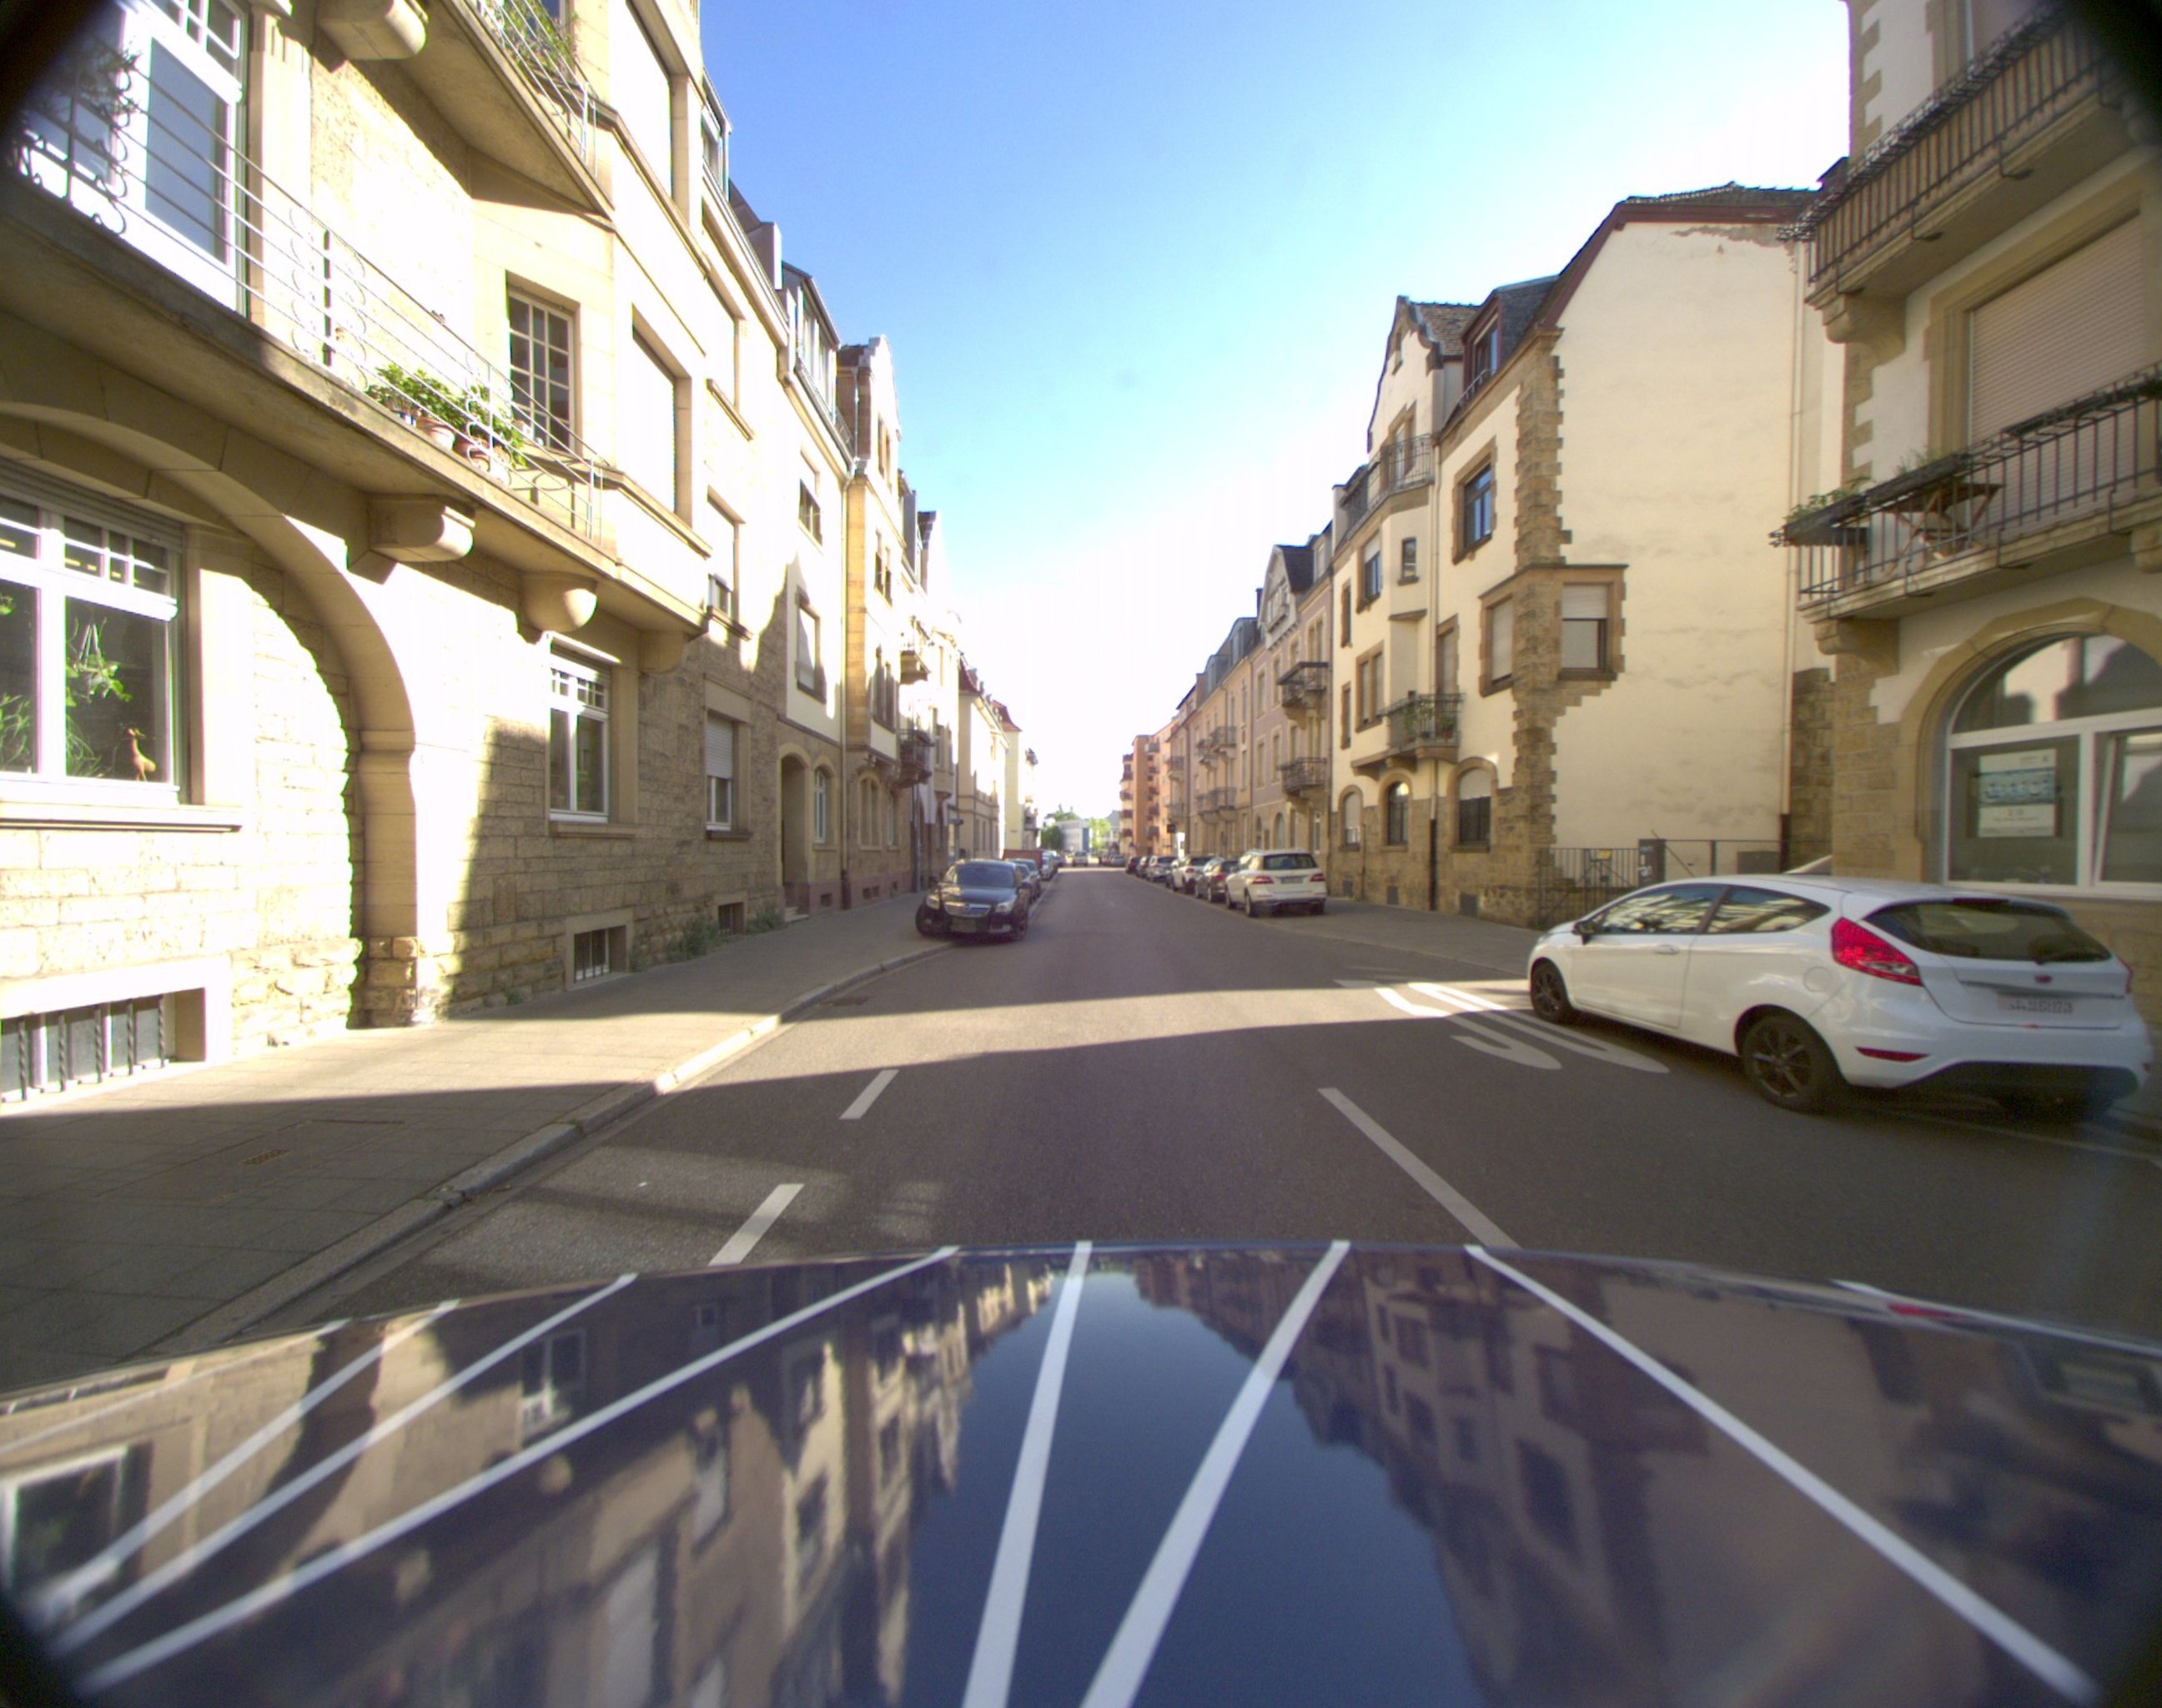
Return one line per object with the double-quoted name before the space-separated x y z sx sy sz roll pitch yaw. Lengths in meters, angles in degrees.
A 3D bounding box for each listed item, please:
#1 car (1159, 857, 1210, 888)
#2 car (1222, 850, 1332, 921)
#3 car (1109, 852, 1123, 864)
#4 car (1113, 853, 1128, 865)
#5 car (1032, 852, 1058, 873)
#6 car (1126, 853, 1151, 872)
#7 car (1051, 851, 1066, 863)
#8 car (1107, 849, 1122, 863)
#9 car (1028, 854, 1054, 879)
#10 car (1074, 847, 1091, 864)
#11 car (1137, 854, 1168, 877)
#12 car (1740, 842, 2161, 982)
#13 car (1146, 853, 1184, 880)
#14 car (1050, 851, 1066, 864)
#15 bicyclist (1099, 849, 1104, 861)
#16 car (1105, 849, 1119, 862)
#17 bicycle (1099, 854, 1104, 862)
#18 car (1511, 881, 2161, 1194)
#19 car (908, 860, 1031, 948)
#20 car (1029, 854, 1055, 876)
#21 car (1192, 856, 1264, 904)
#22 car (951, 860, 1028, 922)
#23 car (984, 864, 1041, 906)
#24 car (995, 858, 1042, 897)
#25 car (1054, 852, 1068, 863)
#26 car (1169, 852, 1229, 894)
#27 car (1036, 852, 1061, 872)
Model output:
"car" 5.041 0.867 37.579 1.677 1.385 3.664 -3 0 -5
"car" 5.213 0.756 20.913 1.896 1.712 4.726 -1 0 1
"car" 4.451 0.519 96.384 1.678 1.414 3.285 0 0 0
"car" 4.694 0.627 91.121 1.678 1.414 3.500 0 0 0
"car" -2.764 0.605 59.094 1.684 1.537 3.914 1 0 1
"car" 4.723 0.678 62.687 1.719 1.378 3.864 -3 0 0
"car" -2.760 0.342 93.361 1.708 1.417 3.721 1 1 -1
"car" 4.523 0.235 101.785 1.822 1.867 4.110 0 0 0
"car" -2.473 0.748 47.639 1.590 1.456 3.711 0 0 -2
"car" 0.167 0.181 93.901 1.868 1.926 4.598 -2 0 -3
"car" 4.893 0.756 52.401 1.719 1.512 4.109 1 0 -1
"car" 11.835 0.719 10.392 3.978 1.718 1.909 0 0 0
"car" 5.000 0.701 45.708 1.719 1.529 3.722 -1 0 -2
"car" -2.616 0.387 87.897 1.708 1.417 3.721 1 1 -1
"bicyclist" 2.684 0.142 98.670 0.609 1.656 0.632 0 1 0
"car" 4.326 0.210 106.677 1.822 1.867 4.110 0 0 0
"bicycle" 2.679 0.548 98.777 0.541 1.070 1.800 0 0 1
"car" 5.102 1.015 5.791 1.637 1.455 3.735 0 1 2
"car" -2.066 0.884 15.268 1.870 1.453 4.338 0 0 -1
"car" -2.671 0.740 53.026 1.657 1.456 4.093 0 0 -1
"car" 5.045 0.844 26.620 1.578 1.479 4.279 -2 0 -2
"car" -2.378 0.924 20.725 1.655 1.434 4.257 1 0 -1
"car" -2.283 0.999 26.119 1.697 1.247 3.940 -1 0 -2
"car" -2.486 0.888 30.585 1.791 1.421 3.806 0 0 -4
"car" -2.654 0.413 99.710 1.708 1.417 3.721 0 0 -2
"car" 4.919 0.744 32.194 1.719 1.574 4.019 -3 0 -2
"car" -2.646 0.642 63.528 1.791 1.655 4.434 0 0 1
